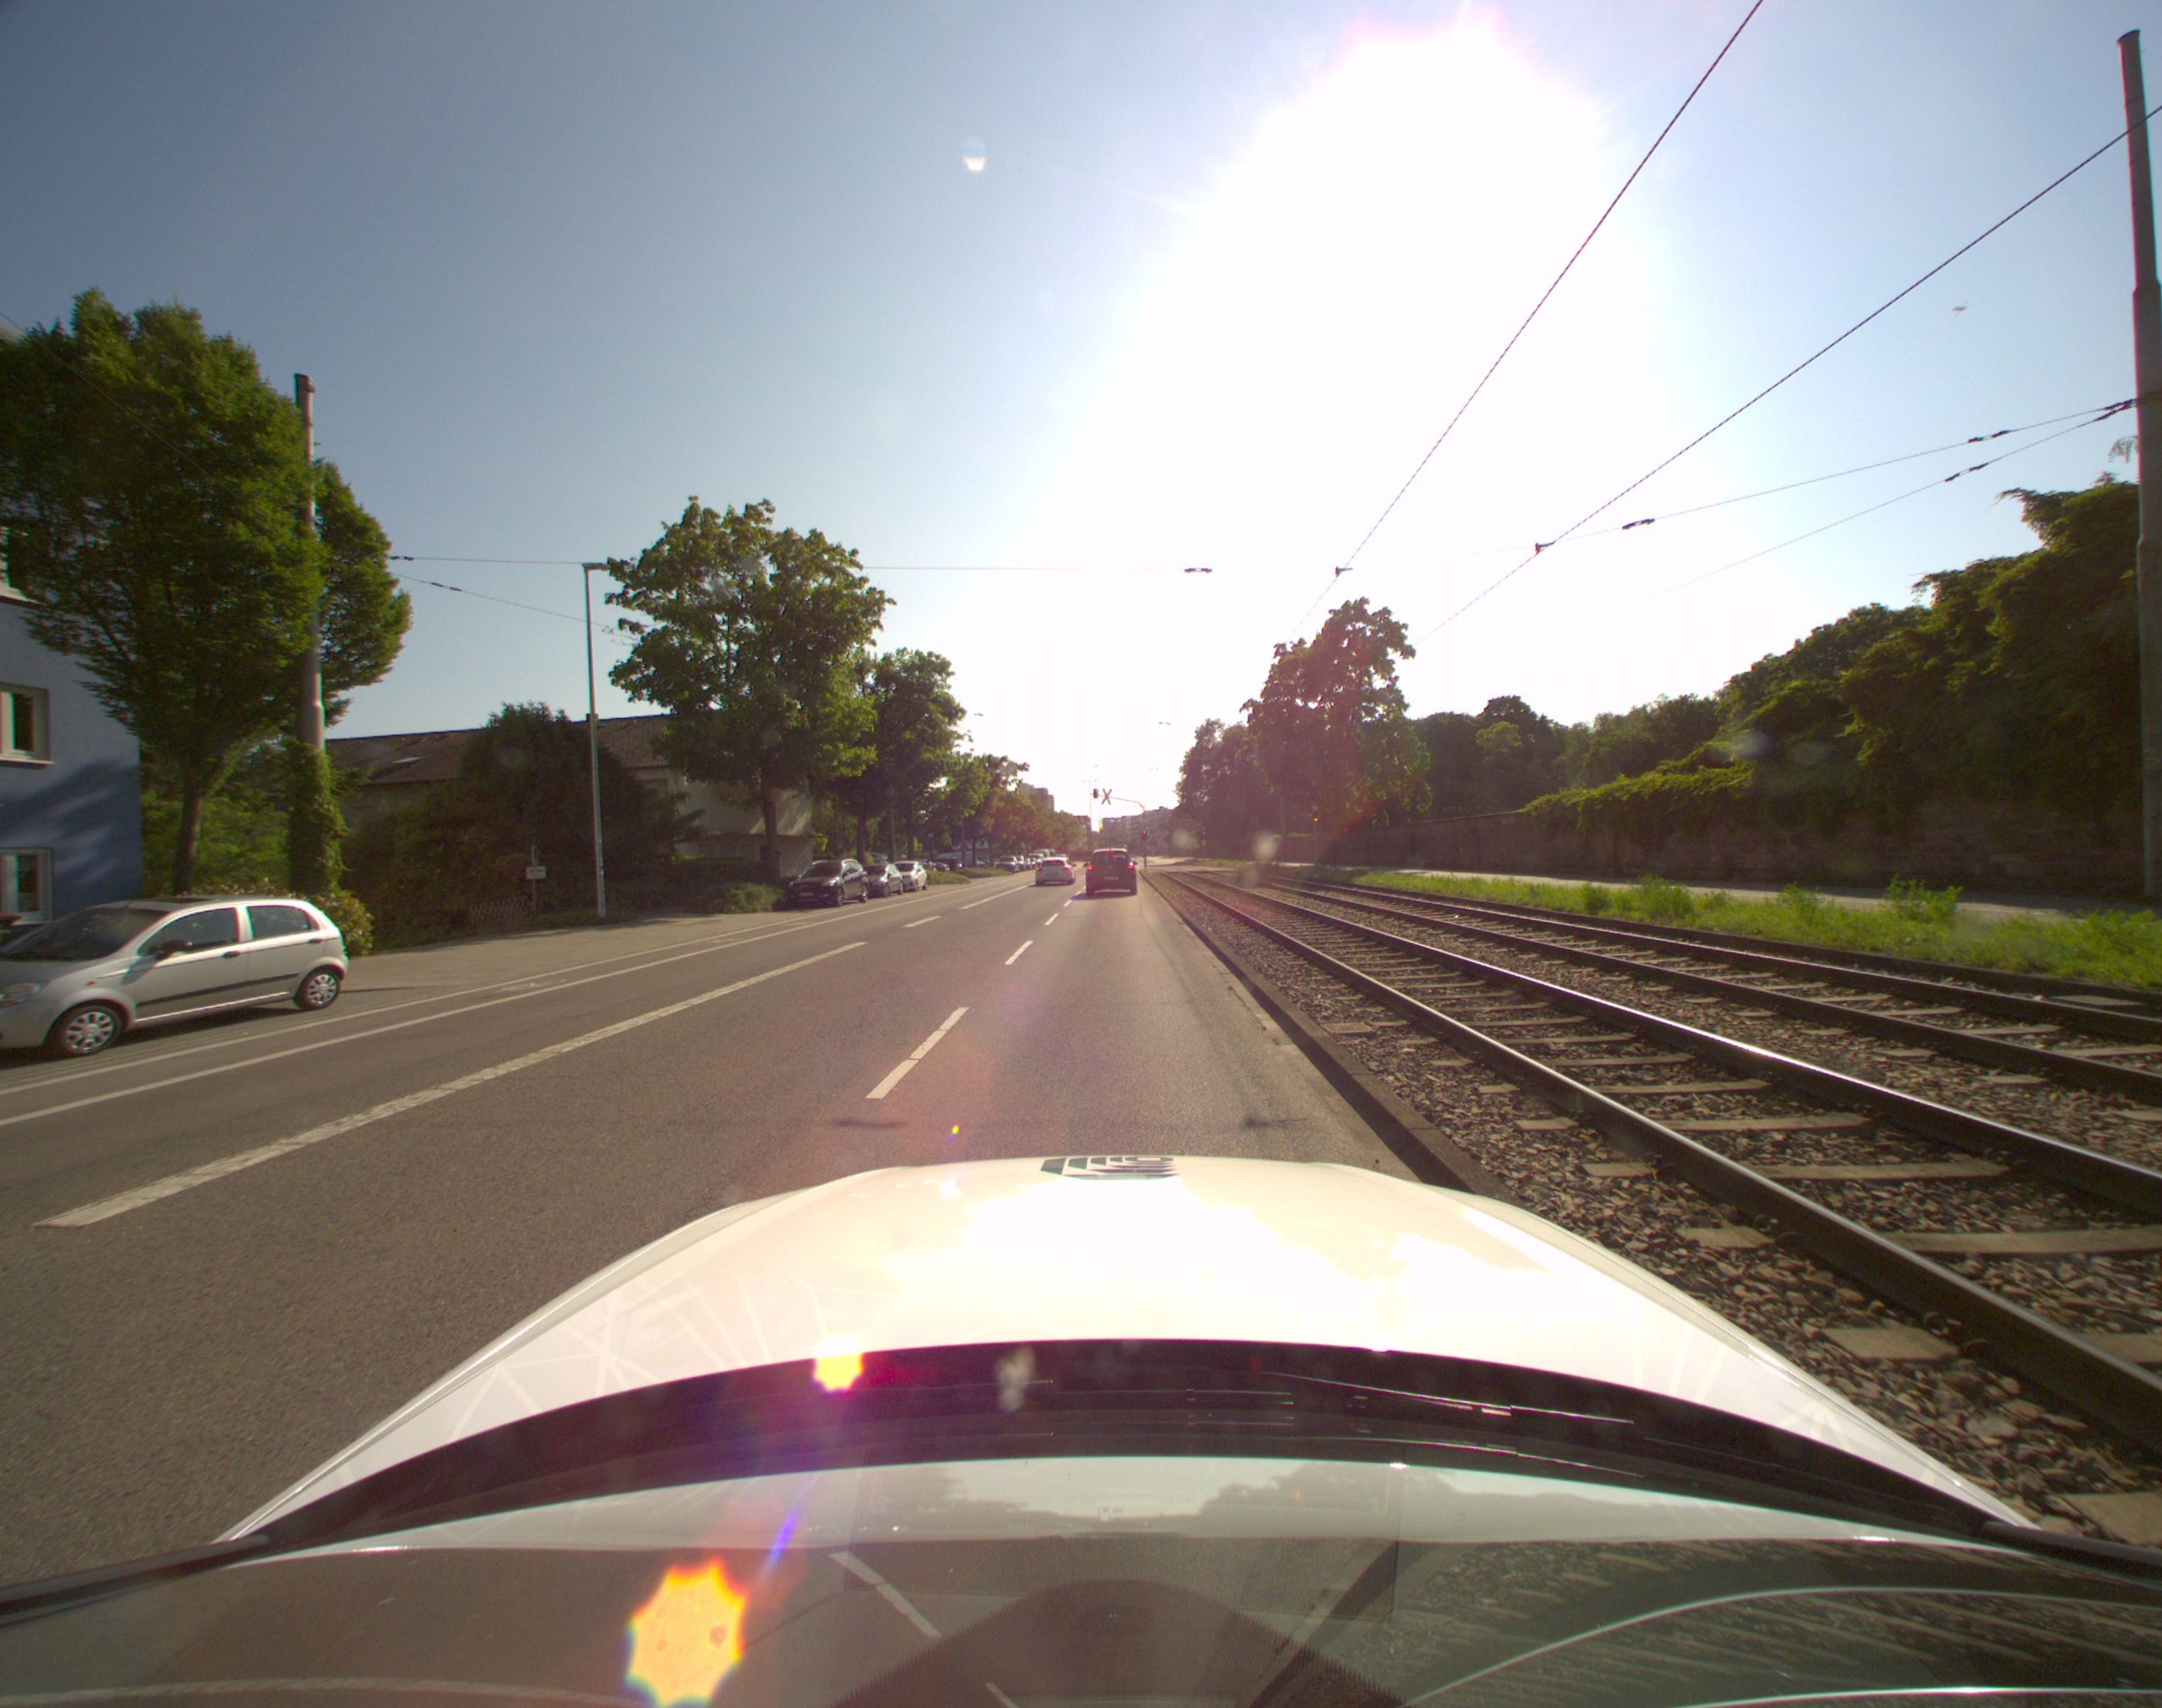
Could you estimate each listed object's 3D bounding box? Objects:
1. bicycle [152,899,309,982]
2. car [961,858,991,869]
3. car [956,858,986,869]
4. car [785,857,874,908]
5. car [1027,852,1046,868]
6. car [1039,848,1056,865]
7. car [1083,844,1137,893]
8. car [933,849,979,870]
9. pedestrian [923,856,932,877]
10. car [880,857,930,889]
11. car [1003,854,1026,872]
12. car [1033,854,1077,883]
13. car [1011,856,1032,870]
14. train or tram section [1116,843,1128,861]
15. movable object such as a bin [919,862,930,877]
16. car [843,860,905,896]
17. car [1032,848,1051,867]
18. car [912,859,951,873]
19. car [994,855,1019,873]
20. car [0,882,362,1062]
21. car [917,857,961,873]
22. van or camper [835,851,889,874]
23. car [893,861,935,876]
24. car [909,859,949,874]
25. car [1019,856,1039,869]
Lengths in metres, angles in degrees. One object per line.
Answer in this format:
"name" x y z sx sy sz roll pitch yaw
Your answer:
"bicycle" -13.583 1.345 13.087 0.440 1.154 1.789 -2 -1 10
"car" -15.009 1.313 116.096 3.975 1.397 1.737 -2 0 -1
"car" -15.348 1.320 113.876 3.975 1.397 1.737 -2 0 -1
"car" -9.416 1.016 30.894 1.705 1.694 4.426 -2 0 3
"car" -5.604 0.710 102.649 1.724 1.860 4.495 -2 0 4
"car" -4.740 0.376 116.190 1.724 2.268 4.650 -2 0 4
"car" 1.114 0.506 29.923 1.804 1.645 4.003 -1 0 3
"car" -15.763 0.678 102.962 5.353 2.423 2.089 -2 0 3
"pedestrian" -12.572 1.027 66.542 0.522 1.628 0.610 -2 0 3
"car" -9.060 0.968 42.268 1.594 1.550 3.896 0 0 2
"car" -6.929 0.901 85.214 1.724 1.694 4.005 -2 0 4
"car" -1.263 0.695 41.268 1.857 1.348 4.003 -2 0 3
"car" -6.621 1.033 91.522 1.724 1.389 3.740 -2 0 4
"train or tram section" 8.493 -0.414 169.400 2.317 3.570 8.907 -2 0 3
"movable object such as a bin" -12.622 1.268 65.602 0.540 1.146 1.262 -2 0 3
"car" -9.219 1.039 36.626 1.671 1.468 3.969 -2 0 1
"car" -5.317 0.433 109.375 1.855 2.347 4.991 -2 0 4
"car" -16.963 1.365 92.598 3.975 1.397 1.737 -2 0 -1
"car" -7.225 0.958 79.549 1.724 1.657 4.005 -2 0 4
"car" -10.696 1.160 9.357 1.595 1.495 3.511 2 0 2
"car" -16.553 1.228 94.973 4.602 1.651 2.049 -2 0 1
"van or camper" -29.037 1.140 108.246 6.436 2.868 2.309 -2 0 3
"car" -17.245 1.461 84.127 3.975 1.307 1.737 -2 0 -1
"car" -16.738 1.355 89.621 3.975 1.397 1.737 -2 0 -1
"car" -6.195 1.000 97.396 1.724 1.450 3.740 -2 0 4
